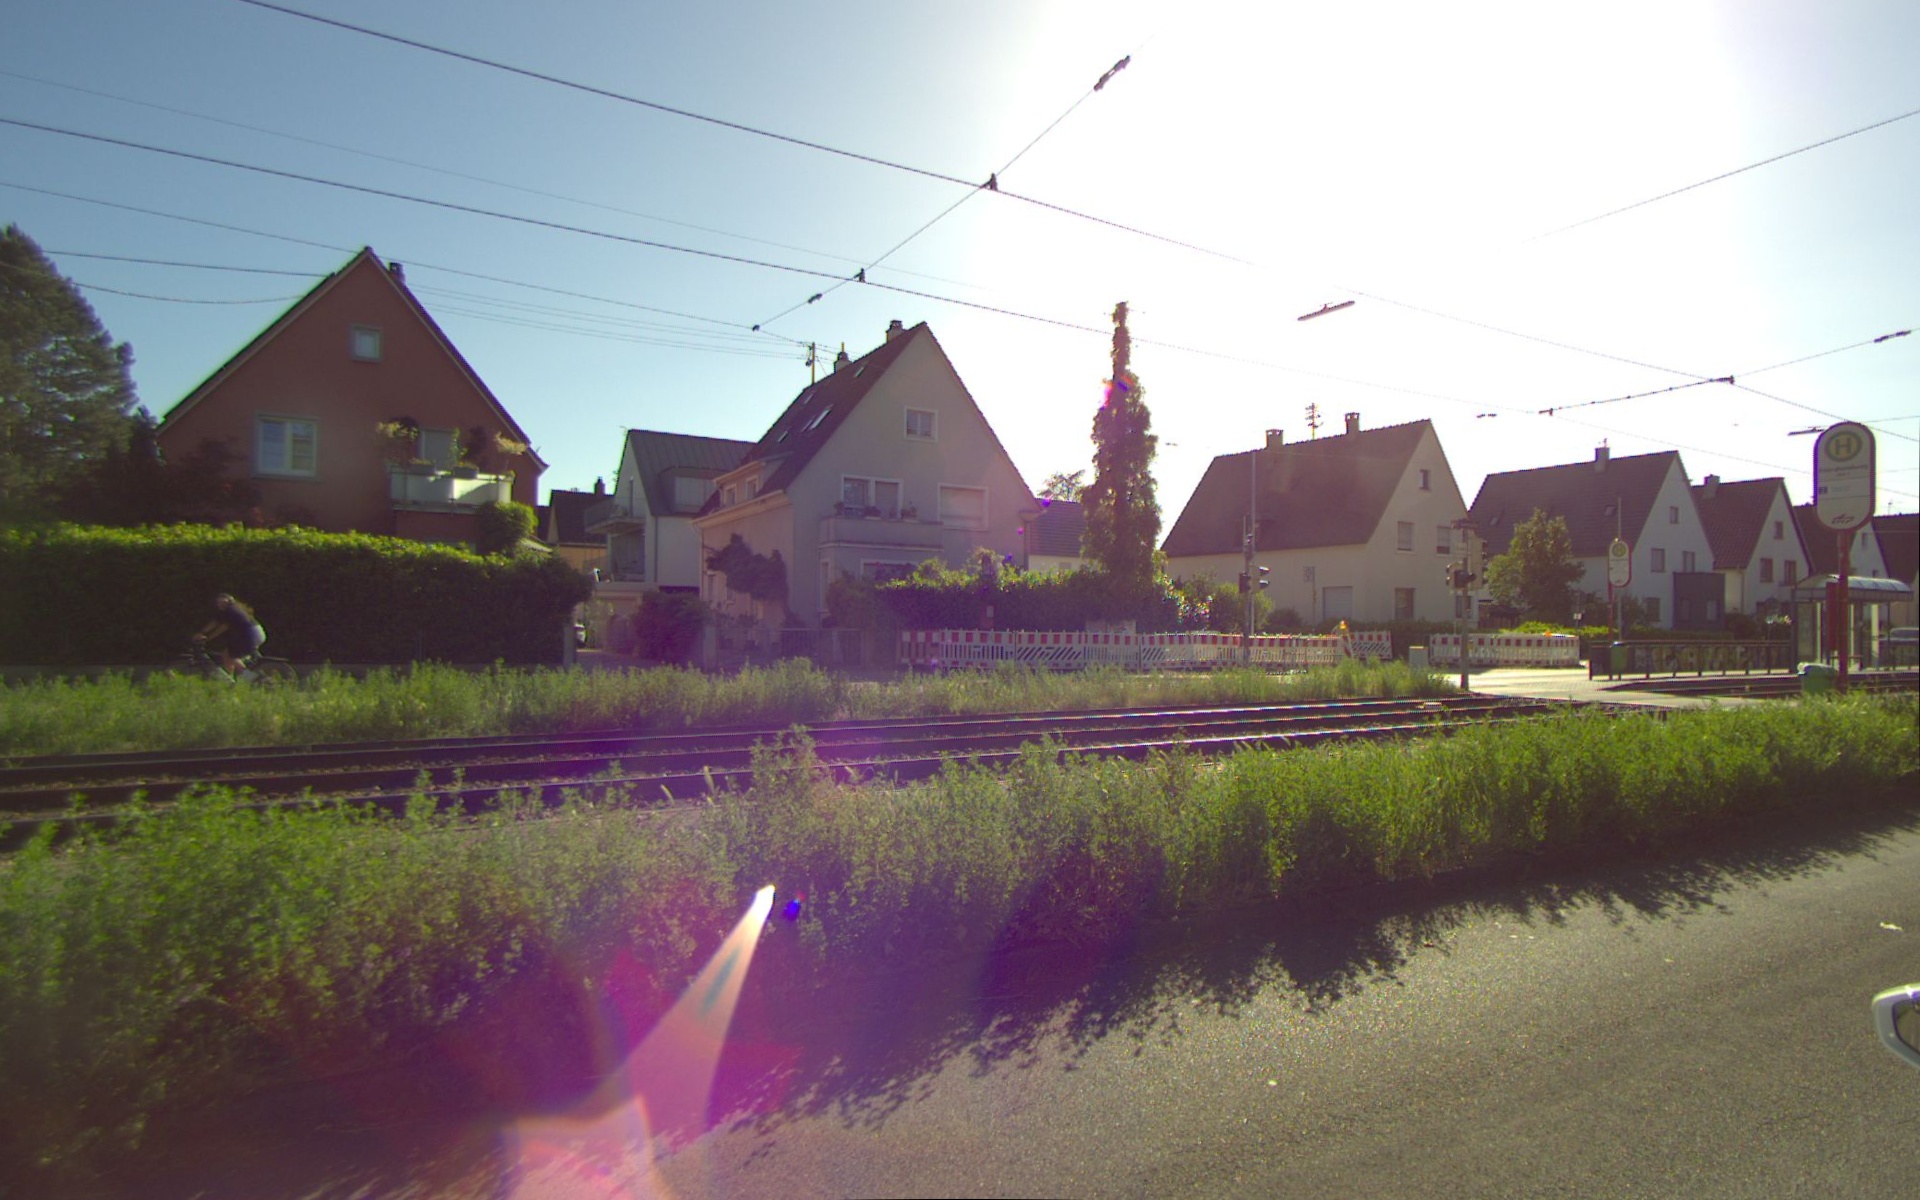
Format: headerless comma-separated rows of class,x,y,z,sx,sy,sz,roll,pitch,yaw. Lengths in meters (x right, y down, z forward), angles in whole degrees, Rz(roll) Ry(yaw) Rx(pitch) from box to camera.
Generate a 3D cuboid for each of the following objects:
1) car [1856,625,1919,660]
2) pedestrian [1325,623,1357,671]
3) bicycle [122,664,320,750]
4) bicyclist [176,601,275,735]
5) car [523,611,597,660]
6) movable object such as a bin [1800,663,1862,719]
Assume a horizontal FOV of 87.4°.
car,50.281,2.287,53.957,4.339,1.736,1.984,2,0,-30
pedestrian,12.687,1.552,33.478,0.782,1.555,0.810,-1,0,38
bicycle,-11.037,1.567,15.128,2.282,1.149,0.847,2,0,-30
bicyclist,-11.019,0.994,15.110,1.059,1.912,0.848,2,0,-30
car,-15.120,1.293,37.895,1.977,1.639,3.967,2,0,-31
movable object such as a bin,9.738,1.013,11.234,0.373,0.590,0.386,2,0,-21
